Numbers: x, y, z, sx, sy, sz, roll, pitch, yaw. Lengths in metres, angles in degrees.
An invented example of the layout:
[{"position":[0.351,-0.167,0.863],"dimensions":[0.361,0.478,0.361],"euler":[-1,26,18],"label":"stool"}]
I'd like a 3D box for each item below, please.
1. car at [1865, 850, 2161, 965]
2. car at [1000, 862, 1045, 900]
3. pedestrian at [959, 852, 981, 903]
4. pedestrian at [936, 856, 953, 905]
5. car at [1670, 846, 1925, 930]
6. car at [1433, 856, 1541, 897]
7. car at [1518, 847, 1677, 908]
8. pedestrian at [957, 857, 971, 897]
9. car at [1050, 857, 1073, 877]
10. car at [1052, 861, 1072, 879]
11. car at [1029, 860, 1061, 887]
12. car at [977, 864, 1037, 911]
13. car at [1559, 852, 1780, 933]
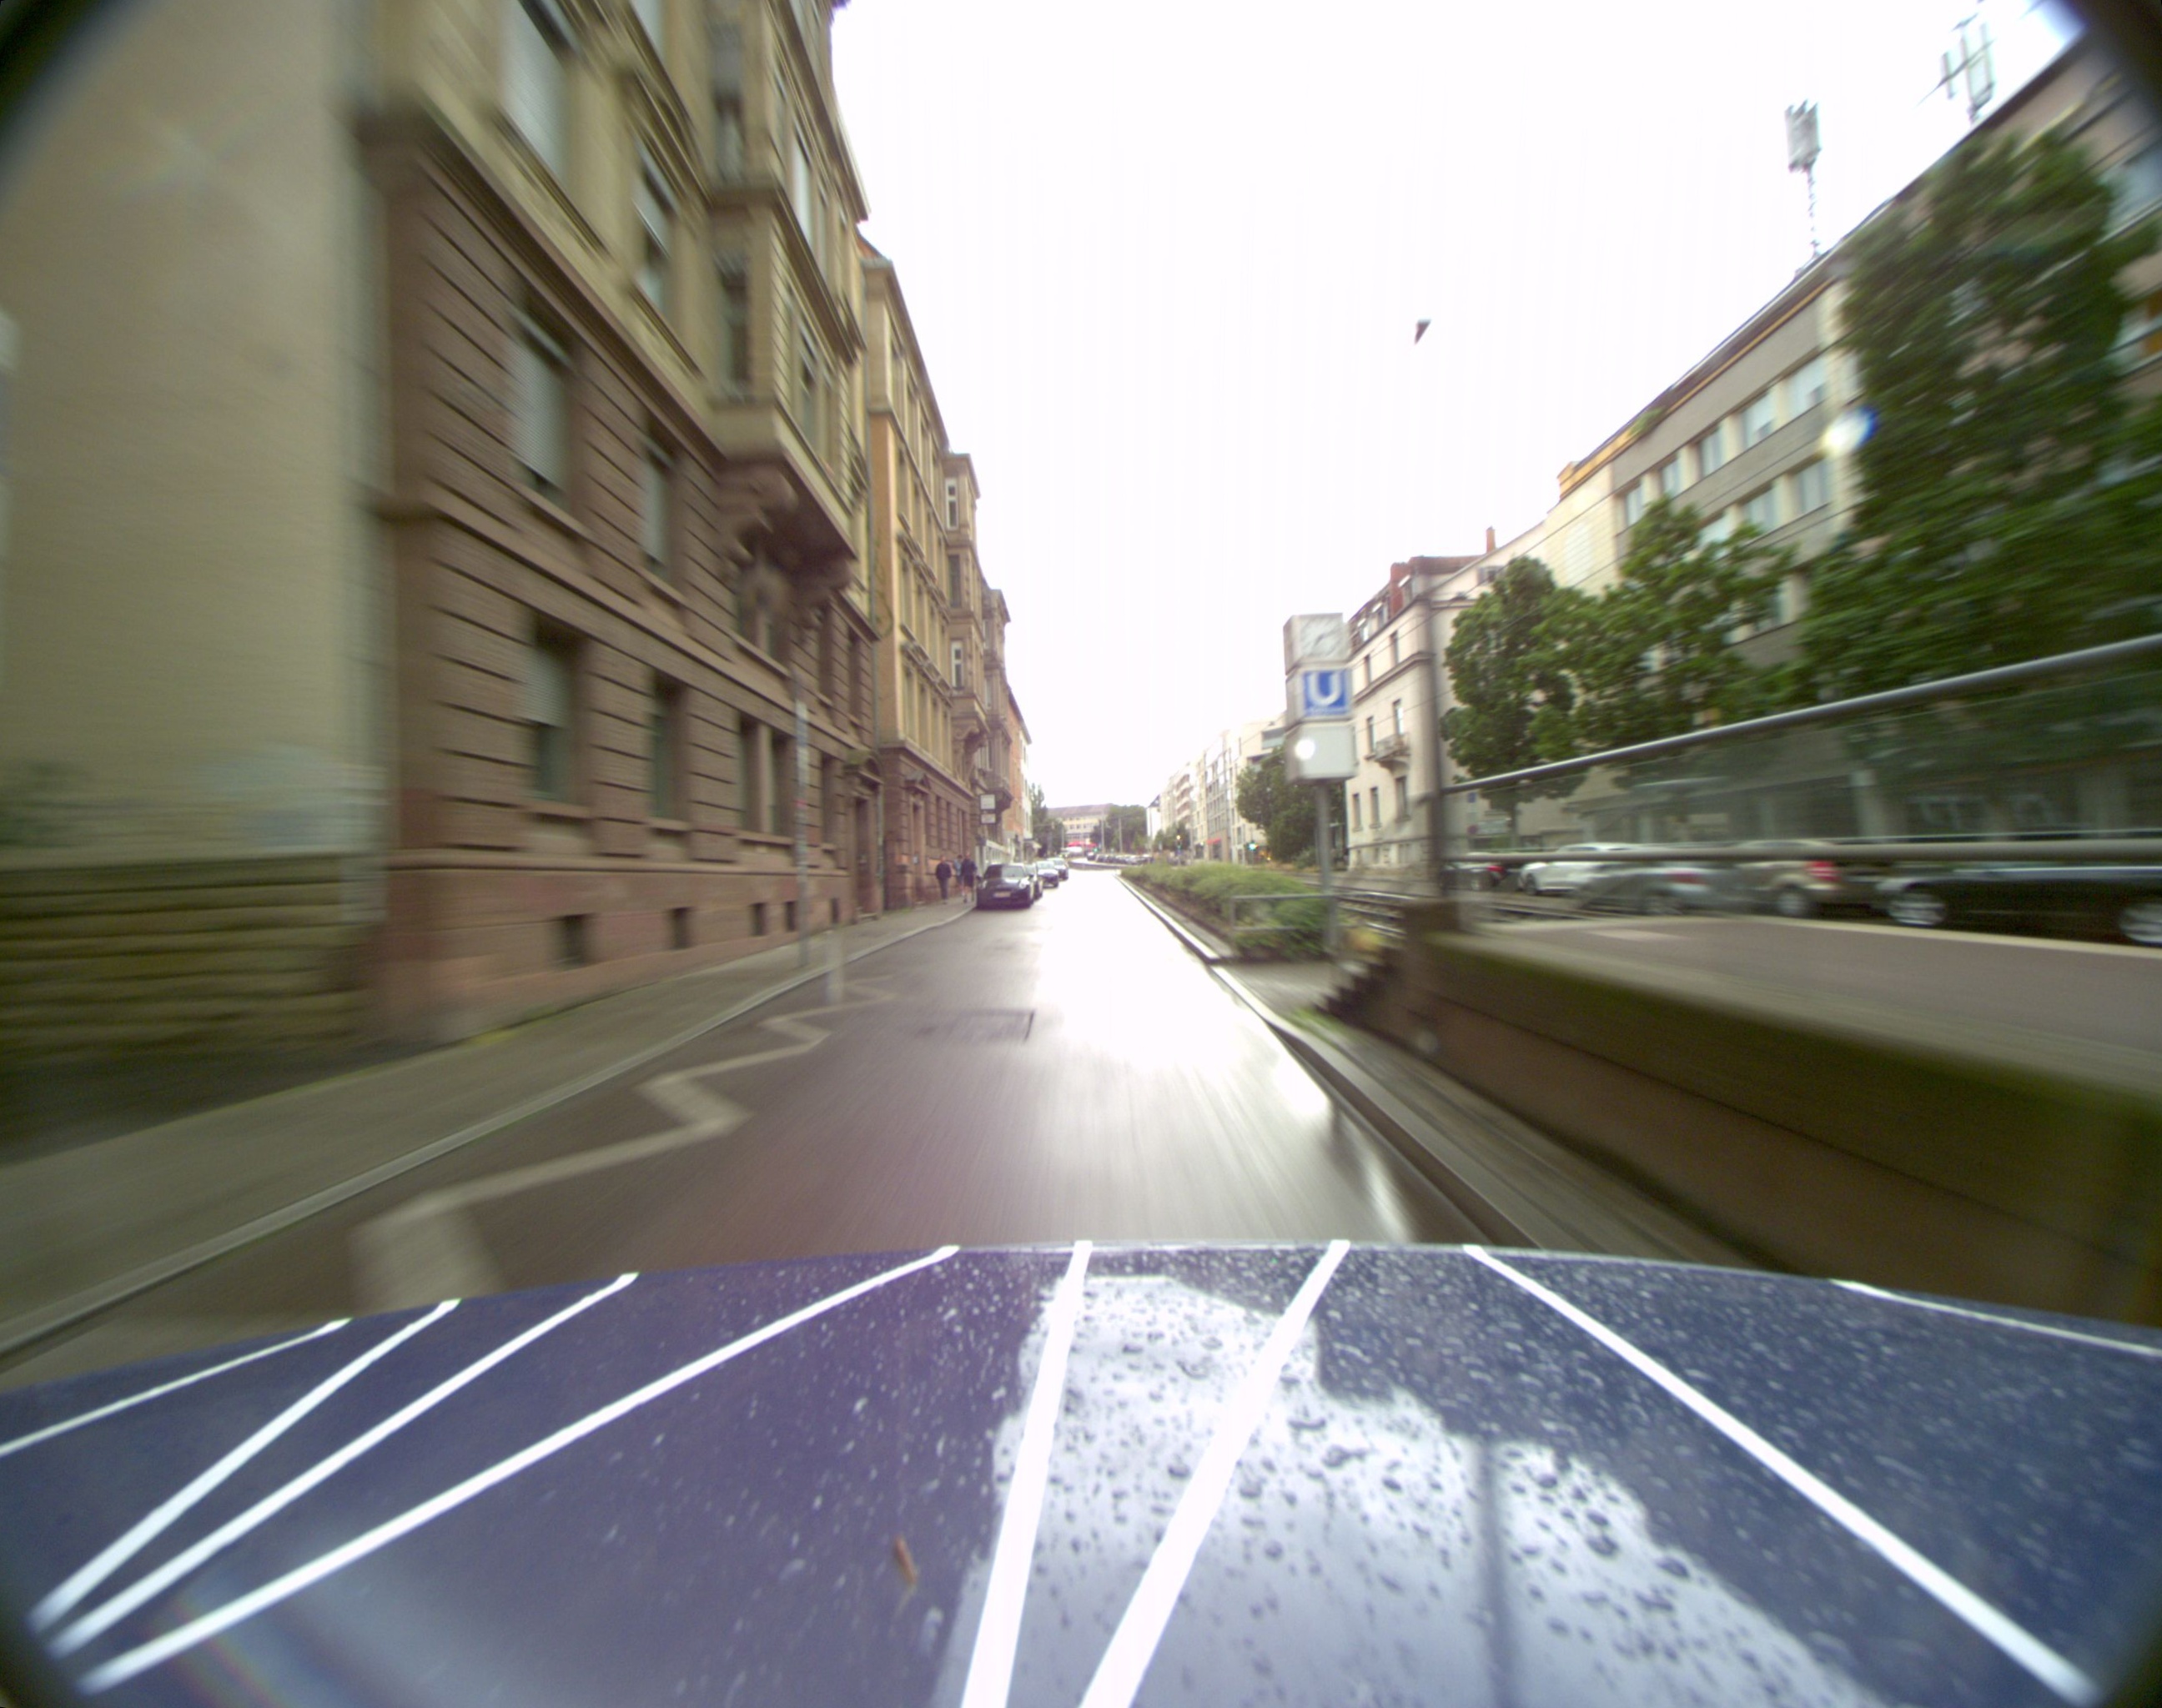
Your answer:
[{"position":[14.604,0.683,10.975],"dimensions":[1.643,1.432,4.729],"euler":[-1,0,0],"label":"car"},{"position":[-2.330,1.049,30.979],"dimensions":[1.588,1.405,3.829],"euler":[-1,0,-1],"label":"car"},{"position":[-3.915,0.814,26.901],"dimensions":[0.653,1.752,0.882],"euler":[-1,1,-3],"label":"pedestrian"},{"position":[-4.690,0.897,26.166],"dimensions":[0.489,1.635,0.631],"euler":[-1,1,-3],"label":"pedestrian"},{"position":[14.787,0.628,16.041],"dimensions":[1.642,1.529,4.022],"euler":[-1,0,1],"label":"car"},{"position":[14.939,0.770,28.253],"dimensions":[1.718,1.367,4.458],"euler":[-1,0,2],"label":"car"},{"position":[14.933,0.634,22.312],"dimensions":[1.662,1.575,4.338],"euler":[-1,0,-1],"label":"car"},{"position":[-4.788,0.929,31.082],"dimensions":[0.485,1.635,0.464],"euler":[-1,1,-3],"label":"pedestrian"},{"position":[-1.439,0.953,56.946],"dimensions":[1.588,1.442,3.978],"euler":[-1,0,0],"label":"car"},{"position":[-1.591,1.349,64.950],"dimensions":[1.588,1.442,3.978],"euler":[-1,0,0],"label":"car"},{"position":[-1.973,1.054,42.263],"dimensions":[1.588,1.343,3.977],"euler":[-1,0,-1],"label":"car"},{"position":[-2.366,1.041,24.994],"dimensions":[1.628,1.343,3.829],"euler":[-1,0,-1],"label":"car"},{"position":[12.176,0.711,16.083],"dimensions":[1.642,1.453,3.964],"euler":[-1,0,1],"label":"car"}]
